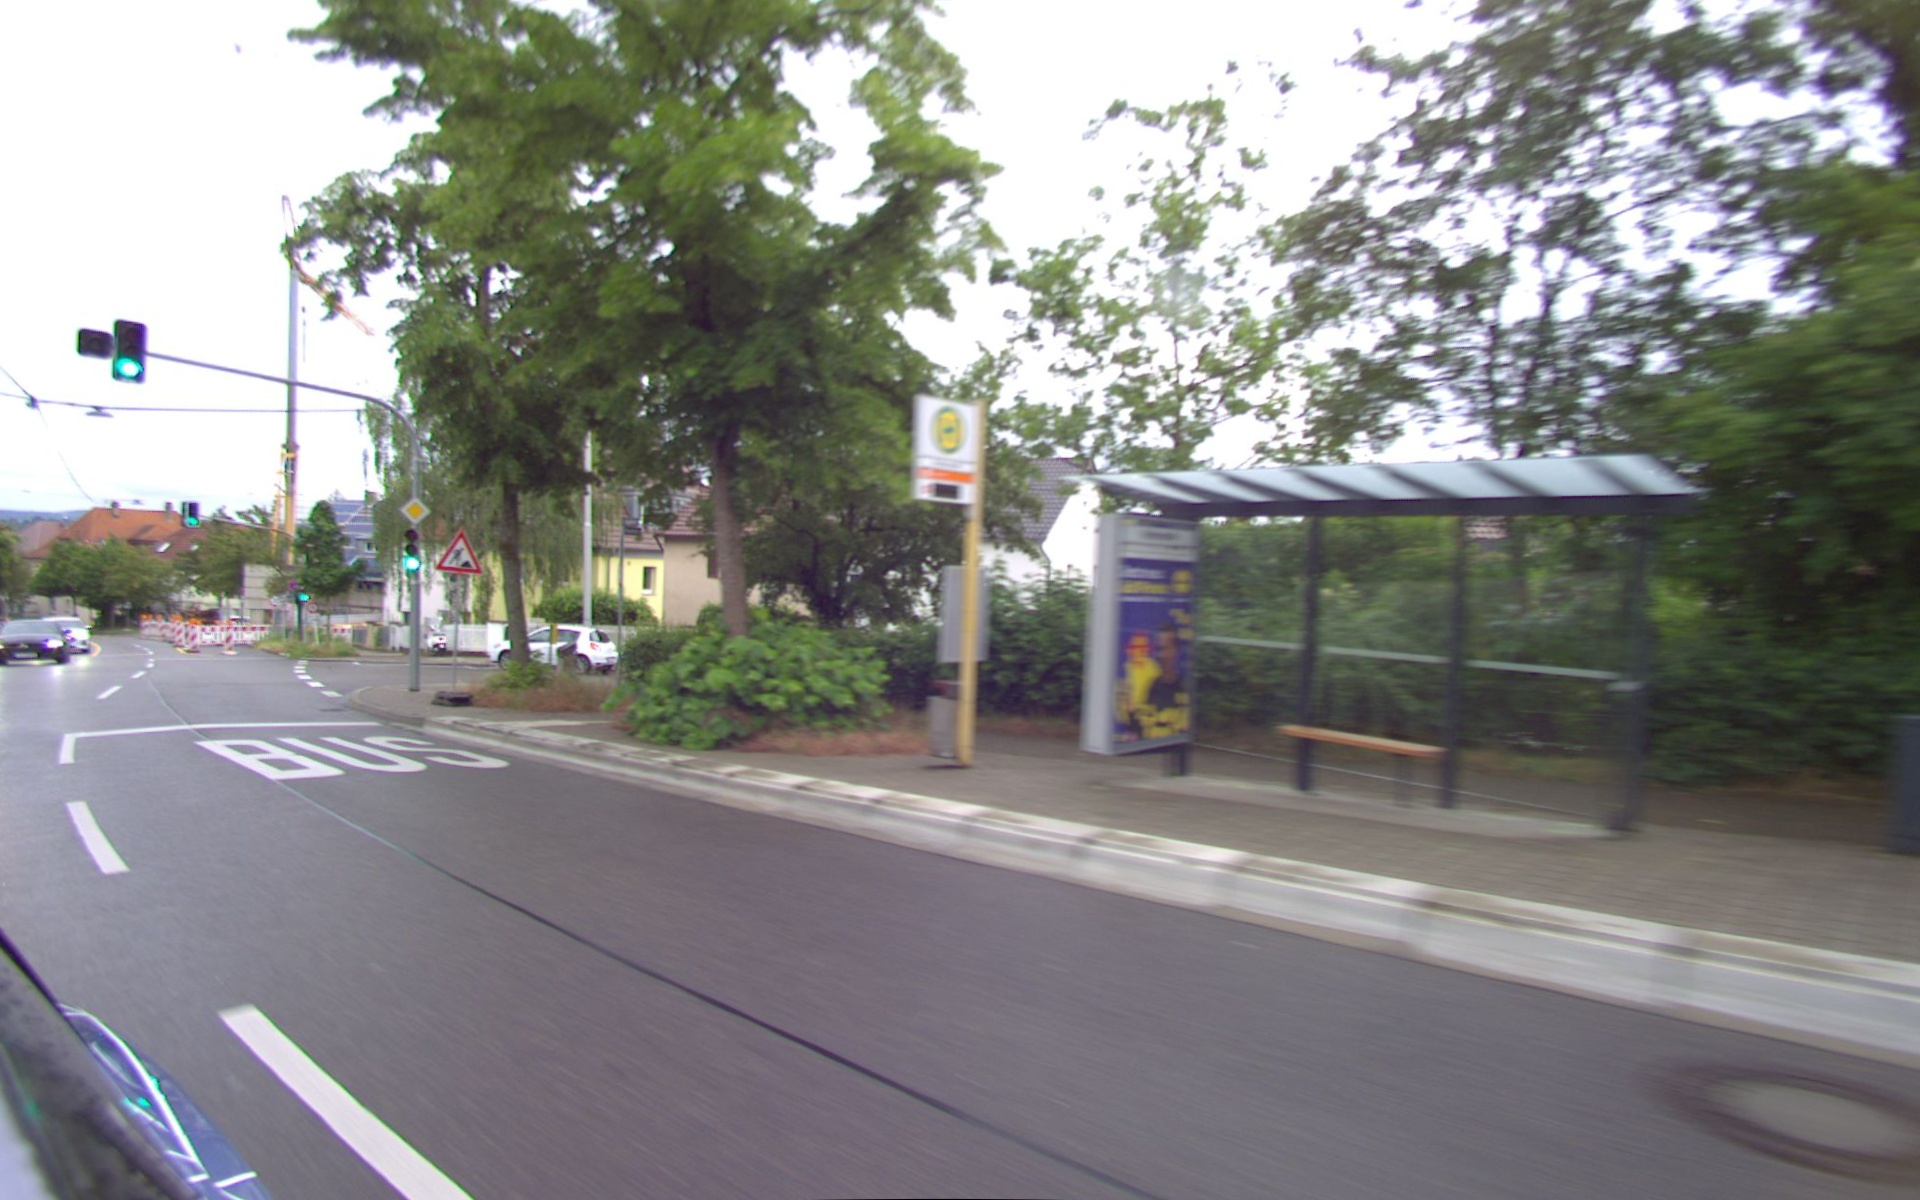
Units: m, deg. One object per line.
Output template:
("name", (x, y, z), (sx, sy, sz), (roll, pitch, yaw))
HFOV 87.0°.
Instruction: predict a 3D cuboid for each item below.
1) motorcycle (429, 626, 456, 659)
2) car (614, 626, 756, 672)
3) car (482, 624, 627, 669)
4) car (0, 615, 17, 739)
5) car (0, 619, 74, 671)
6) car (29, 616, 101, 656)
("motorcycle", (-18.554, 1.498, 36.280), (0.467, 1.153, 1.424), (1, -2, -43))
("car", (-8.817, 1.558, 32.630), (3.975, 1.426, 1.959), (0, -1, 6))
("car", (-13.281, 1.503, 33.288), (3.975, 1.426, 1.959), (0, -1, 6))
("car", (-11.999, 0.931, 11.349), (1.777, 1.437, 4.390), (-3, 1, -40))
("car", (-29.298, 1.373, 31.807), (2.000, 1.474, 4.007), (-1, 1, -39))
("car", (-39.832, 1.571, 45.136), (1.999, 1.641, 4.238), (-1, 0, -36))
